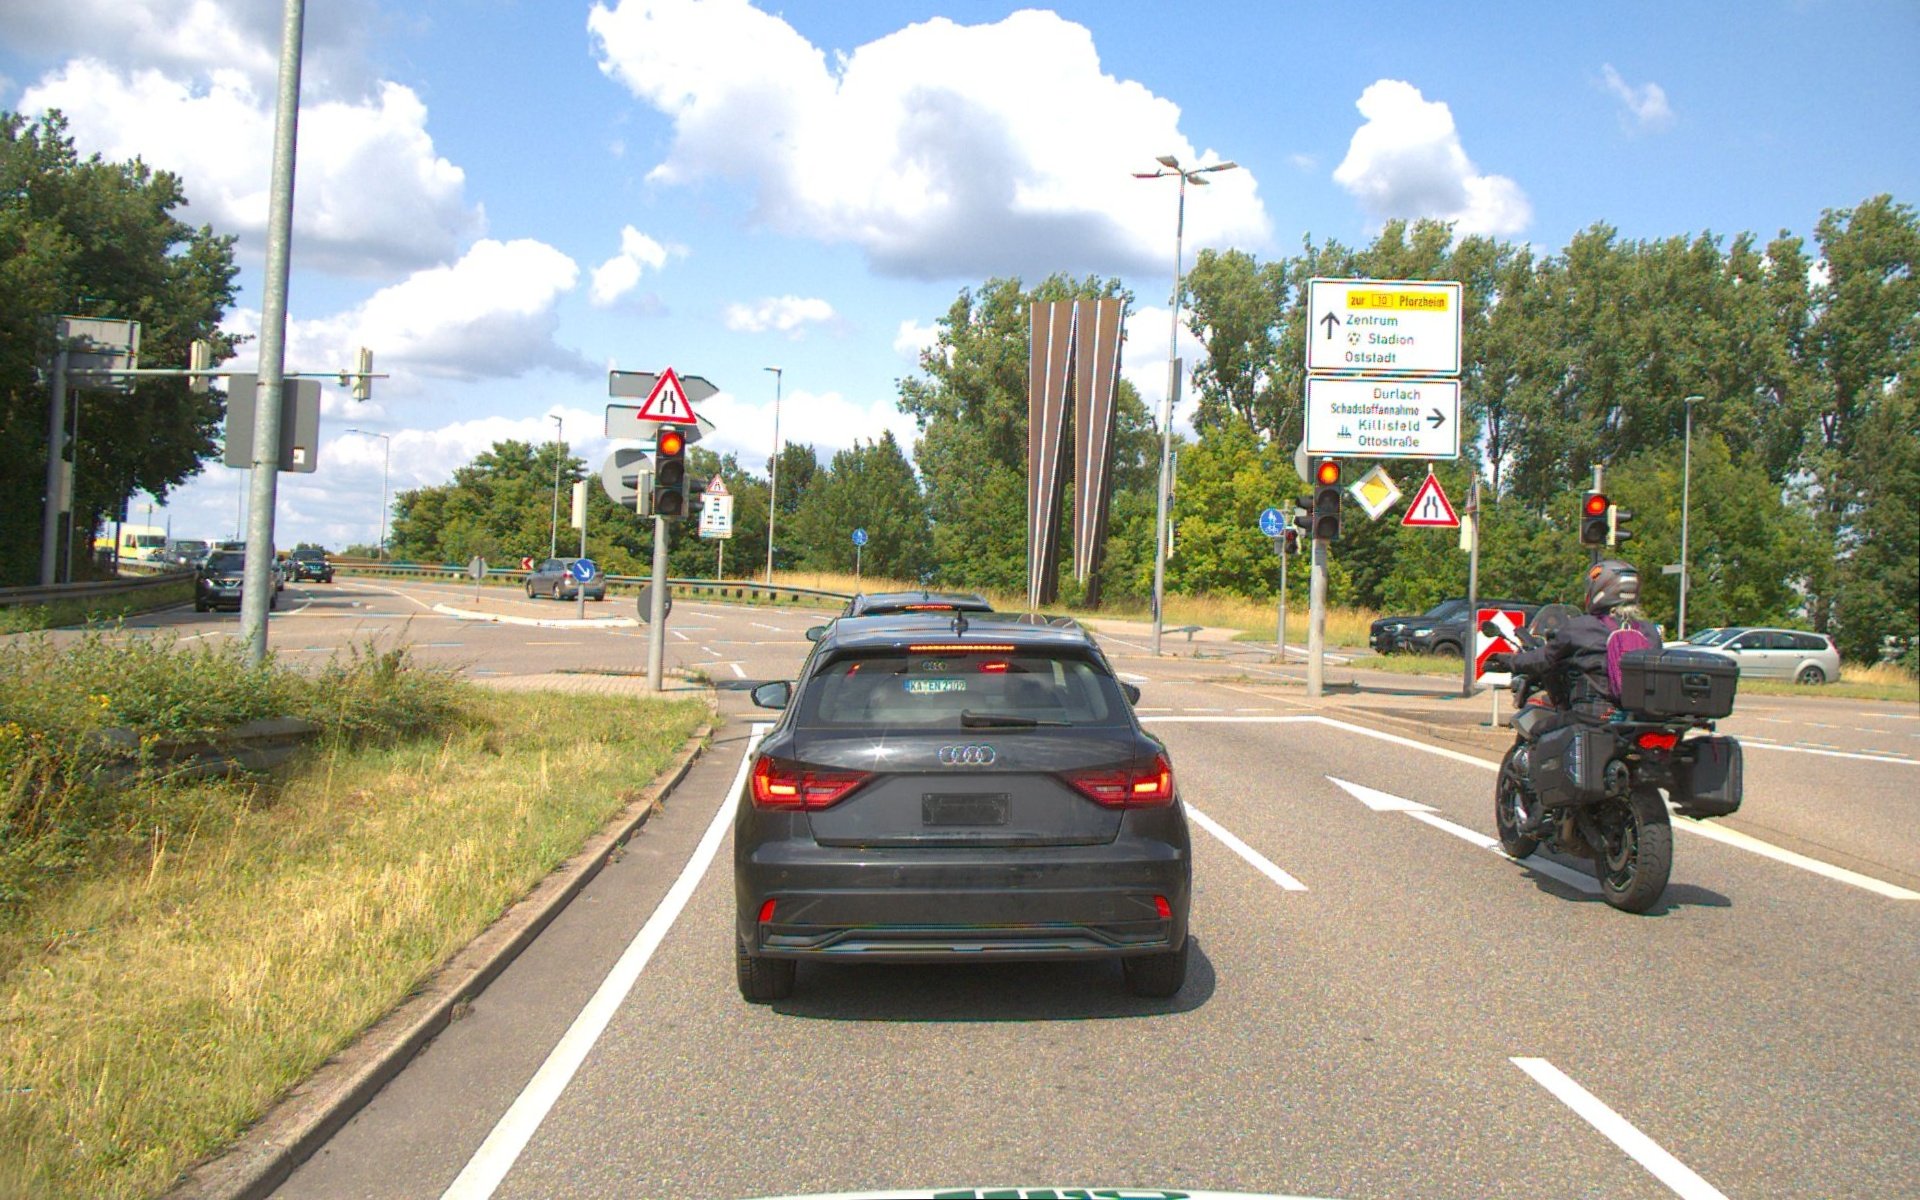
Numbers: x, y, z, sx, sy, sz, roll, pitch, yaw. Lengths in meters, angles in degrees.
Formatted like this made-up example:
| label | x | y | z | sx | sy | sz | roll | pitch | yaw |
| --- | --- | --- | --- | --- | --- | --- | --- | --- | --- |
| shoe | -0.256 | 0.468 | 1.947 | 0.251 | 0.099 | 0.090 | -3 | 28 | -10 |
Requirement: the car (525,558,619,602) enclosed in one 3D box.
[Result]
| label | x | y | z | sx | sy | sz | roll | pitch | yaw |
| --- | --- | --- | --- | --- | --- | --- | --- | --- | --- |
| car | -14.439 | -0.754 | 61.484 | 1.978 | 1.522 | 4.068 | 2 | 0 | -36 |

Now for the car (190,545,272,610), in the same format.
| label | x | y | z | sx | sy | sz | roll | pitch | yaw |
| --- | --- | --- | --- | --- | --- | --- | --- | --- | --- |
| car | -19.883 | -0.566 | 45.249 | 1.813 | 1.646 | 3.974 | 2 | -1 | -21 |

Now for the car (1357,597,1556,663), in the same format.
| label | x | y | z | sx | sy | sz | roll | pitch | yaw |
| --- | --- | --- | --- | --- | --- | --- | --- | --- | --- |
| car | 13.136 | 0.779 | 43.917 | 4.750 | 1.572 | 1.736 | 2 | 0 | -2 |

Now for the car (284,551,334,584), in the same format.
| label | x | y | z | sx | sy | sz | roll | pitch | yaw |
| --- | --- | --- | --- | --- | --- | --- | --- | --- | --- |
| car | -31.860 | -1.599 | 80.863 | 1.712 | 1.522 | 4.008 | 2 | 0 | -29 |

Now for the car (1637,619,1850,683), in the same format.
| label | x | y | z | sx | sy | sz | roll | pitch | yaw |
| --- | --- | --- | --- | --- | --- | --- | --- | --- | --- |
| car | 19.068 | 1.229 | 40.335 | 4.384 | 1.343 | 1.735 | 2 | 0 | -4 |

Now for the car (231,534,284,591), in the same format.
| label | x | y | z | sx | sy | sz | roll | pitch | yaw |
| --- | --- | --- | --- | --- | --- | --- | --- | --- | --- |
| car | -28.217 | -1.488 | 66.394 | 1.819 | 2.137 | 4.293 | 2 | 0 | -24 |

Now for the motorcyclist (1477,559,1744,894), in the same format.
| label | x | y | z | sx | sy | sz | roll | pitch | yaw |
| --- | --- | --- | --- | --- | --- | --- | --- | --- | --- |
| motorcyclist | 3.356 | 0.617 | 8.646 | 0.918 | 1.618 | 1.083 | 2 | 0 | -1 |

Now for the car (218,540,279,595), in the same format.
| label | x | y | z | sx | sy | sz | roll | pitch | yaw |
| --- | --- | --- | --- | --- | --- | --- | --- | --- | --- |
| car | -25.371 | -1.140 | 59.093 | 1.817 | 1.833 | 4.299 | 2 | 0 | -22 |

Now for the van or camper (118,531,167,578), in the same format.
| label | x | y | z | sx | sy | sz | roll | pitch | yaw |
| --- | --- | --- | --- | --- | --- | --- | --- | --- | --- |
| van or camper | -50.311 | -2.778 | 101.743 | 1.974 | 2.730 | 6.788 | 2 | 0 | -32 |

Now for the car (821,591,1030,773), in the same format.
| label | x | y | z | sx | sy | sz | roll | pitch | yaw |
| --- | --- | --- | --- | --- | --- | --- | --- | --- | --- |
| car | -0.436 | 0.649 | 15.317 | 1.692 | 1.448 | 3.841 | 0 | 1 | -5 |

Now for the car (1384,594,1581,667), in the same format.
| label | x | y | z | sx | sy | sz | roll | pitch | yaw |
| --- | --- | --- | --- | --- | --- | --- | --- | --- | --- |
| car | 12.606 | 0.722 | 40.057 | 4.182 | 1.572 | 1.736 | 2 | 0 | -2 |

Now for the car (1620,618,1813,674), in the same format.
| label | x | y | z | sx | sy | sz | roll | pitch | yaw |
| --- | --- | --- | --- | --- | --- | --- | --- | --- | --- |
| car | 20.260 | 1.228 | 44.394 | 4.404 | 1.304 | 1.736 | 2 | 0 | -4 |

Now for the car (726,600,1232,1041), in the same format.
| label | x | y | z | sx | sy | sz | roll | pitch | yaw |
| --- | --- | --- | --- | --- | --- | --- | --- | --- | --- |
| car | 0.036 | 0.733 | 7.524 | 1.691 | 1.429 | 3.999 | 0 | 1 | -1 |

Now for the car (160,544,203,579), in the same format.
| label | x | y | z | sx | sy | sz | roll | pitch | yaw |
| --- | --- | --- | --- | --- | --- | --- | --- | --- | --- |
| car | -42.135 | -2.081 | 89.493 | 1.823 | 1.735 | 4.286 | 2 | 0 | -29 |

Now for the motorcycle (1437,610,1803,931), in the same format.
| label | x | y | z | sx | sy | sz | roll | pitch | yaw |
| --- | --- | --- | --- | --- | --- | --- | --- | --- | --- |
| motorcycle | 3.350 | 0.783 | 8.720 | 0.918 | 1.407 | 2.369 | 2 | 0 | -1 |
